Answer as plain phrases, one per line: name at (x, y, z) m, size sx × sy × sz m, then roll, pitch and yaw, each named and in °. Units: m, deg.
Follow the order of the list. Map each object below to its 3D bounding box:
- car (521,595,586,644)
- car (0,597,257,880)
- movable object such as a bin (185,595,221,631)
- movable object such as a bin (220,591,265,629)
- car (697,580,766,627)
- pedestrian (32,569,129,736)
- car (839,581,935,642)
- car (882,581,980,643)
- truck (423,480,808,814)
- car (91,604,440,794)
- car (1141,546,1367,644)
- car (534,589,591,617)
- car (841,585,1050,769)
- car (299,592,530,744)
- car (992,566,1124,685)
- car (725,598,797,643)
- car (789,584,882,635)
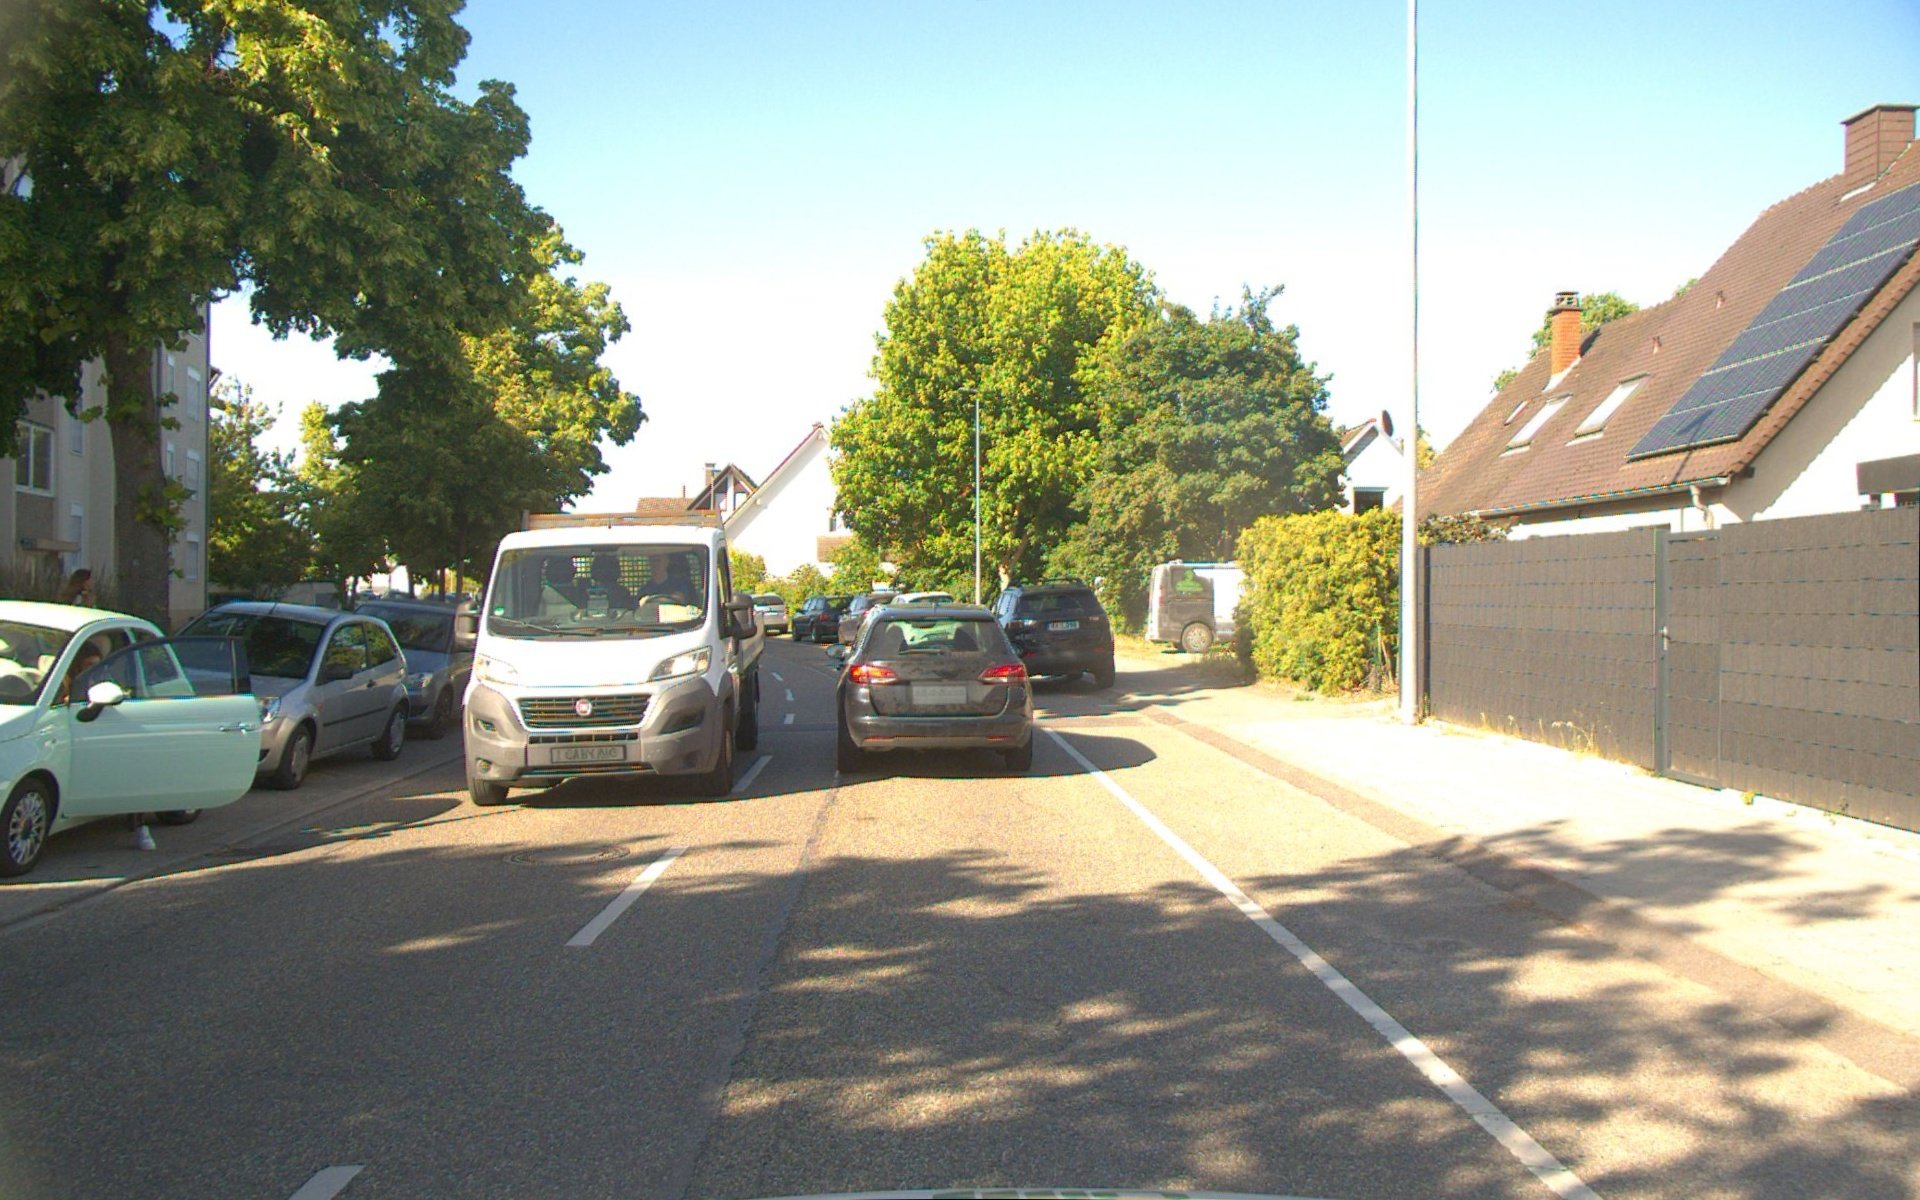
car at (-13.174, 0.621, 53.475) m, size 1.663 × 1.517 × 4.267 m, roll 0°, pitch 0°, yaw -19°
car at (-6.244, 0.823, 10.963) m, size 1.667 × 1.550 × 4.048 m, roll -2°, pitch -1°, yaw -4°
movable object such as a bin at (-29.470, 0.513, 64.418) m, size 1.154 × 1.344 × 1.082 m, roll -1°, pitch -2°, yaw -19°
movable object such as a bin at (-28.143, 0.403, 64.905) m, size 1.494 × 1.452 × 1.082 m, roll -1°, pitch -2°, yaw -19°
car at (-9.226, 0.145, 66.571) m, size 1.975 × 1.754 × 4.271 m, roll -1°, pitch 0°, yaw -19°
pedestrian at (-9.472, 0.565, 17.832) m, size 0.672 × 1.748 × 0.720 m, roll -1°, pitch -2°, yaw -3°
car at (-2.139, 0.324, 47.425) m, size 1.880 × 1.628 × 4.277 m, roll -1°, pitch 0°, yaw -15°
car at (-0.812, 0.307, 42.977) m, size 1.730 × 1.506 × 4.280 m, roll -1°, pitch 0°, yaw -12°
truck at (-2.820, 0.325, 15.327) m, size 2.086 × 2.375 × 6.443 m, roll -2°, pitch 0°, yaw 1°
car at (-6.292, 0.812, 15.495) m, size 1.624 × 1.536 × 3.999 m, roll 0°, pitch 0°, yaw -1°
car at (6.493, -0.103, 36.945) m, size 4.587 × 2.018 × 2.142 m, roll -1°, pitch 0°, yaw -3°
car at (-21.384, 0.154, 88.865) m, size 1.896 × 1.432 × 4.252 m, roll -1°, pitch 0°, yaw -29°
car at (-0.204, 0.644, 15.858) m, size 1.726 × 1.517 × 4.288 m, roll 0°, pitch 0°, yaw -2°
car at (-6.548, 0.744, 20.277) m, size 1.536 × 1.556 × 3.917 m, roll 3°, pitch 1°, yaw -1°
car at (1.522, 0.384, 27.179) m, size 1.742 × 1.754 × 4.292 m, roll -1°, pitch 0°, yaw -2°
car at (-7.421, 0.735, 61.263) m, size 1.793 × 1.561 × 4.235 m, roll -1°, pitch 0°, yaw -19°
car at (-3.991, 0.289, 52.479) m, size 1.975 × 1.501 × 4.272 m, roll -1°, pitch 0°, yaw -18°
